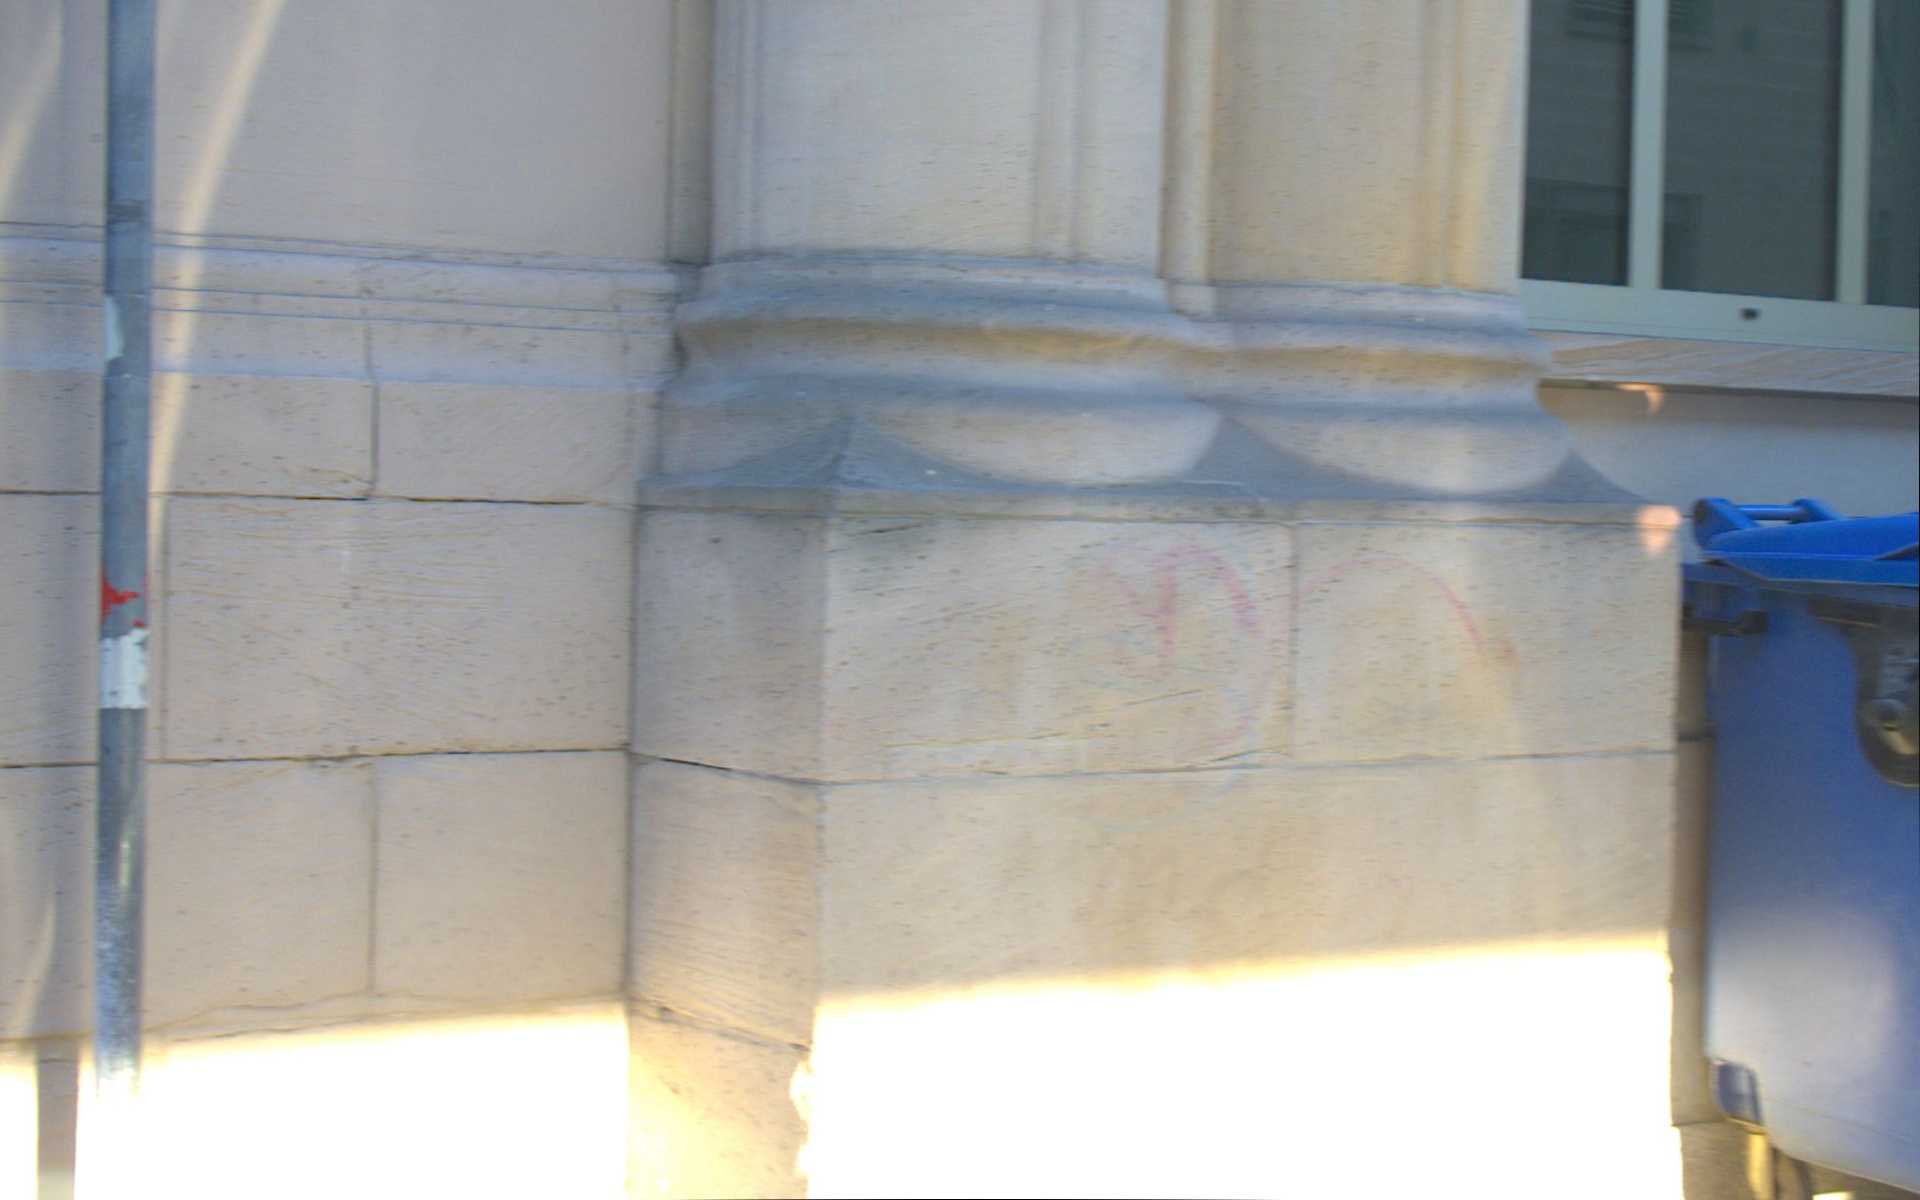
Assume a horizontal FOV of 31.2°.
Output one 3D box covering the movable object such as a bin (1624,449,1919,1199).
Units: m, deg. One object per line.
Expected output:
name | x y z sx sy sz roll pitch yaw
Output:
movable object such as a bin | 1.957 0.499 5.819 1.183 1.469 1.077 0 3 -31
